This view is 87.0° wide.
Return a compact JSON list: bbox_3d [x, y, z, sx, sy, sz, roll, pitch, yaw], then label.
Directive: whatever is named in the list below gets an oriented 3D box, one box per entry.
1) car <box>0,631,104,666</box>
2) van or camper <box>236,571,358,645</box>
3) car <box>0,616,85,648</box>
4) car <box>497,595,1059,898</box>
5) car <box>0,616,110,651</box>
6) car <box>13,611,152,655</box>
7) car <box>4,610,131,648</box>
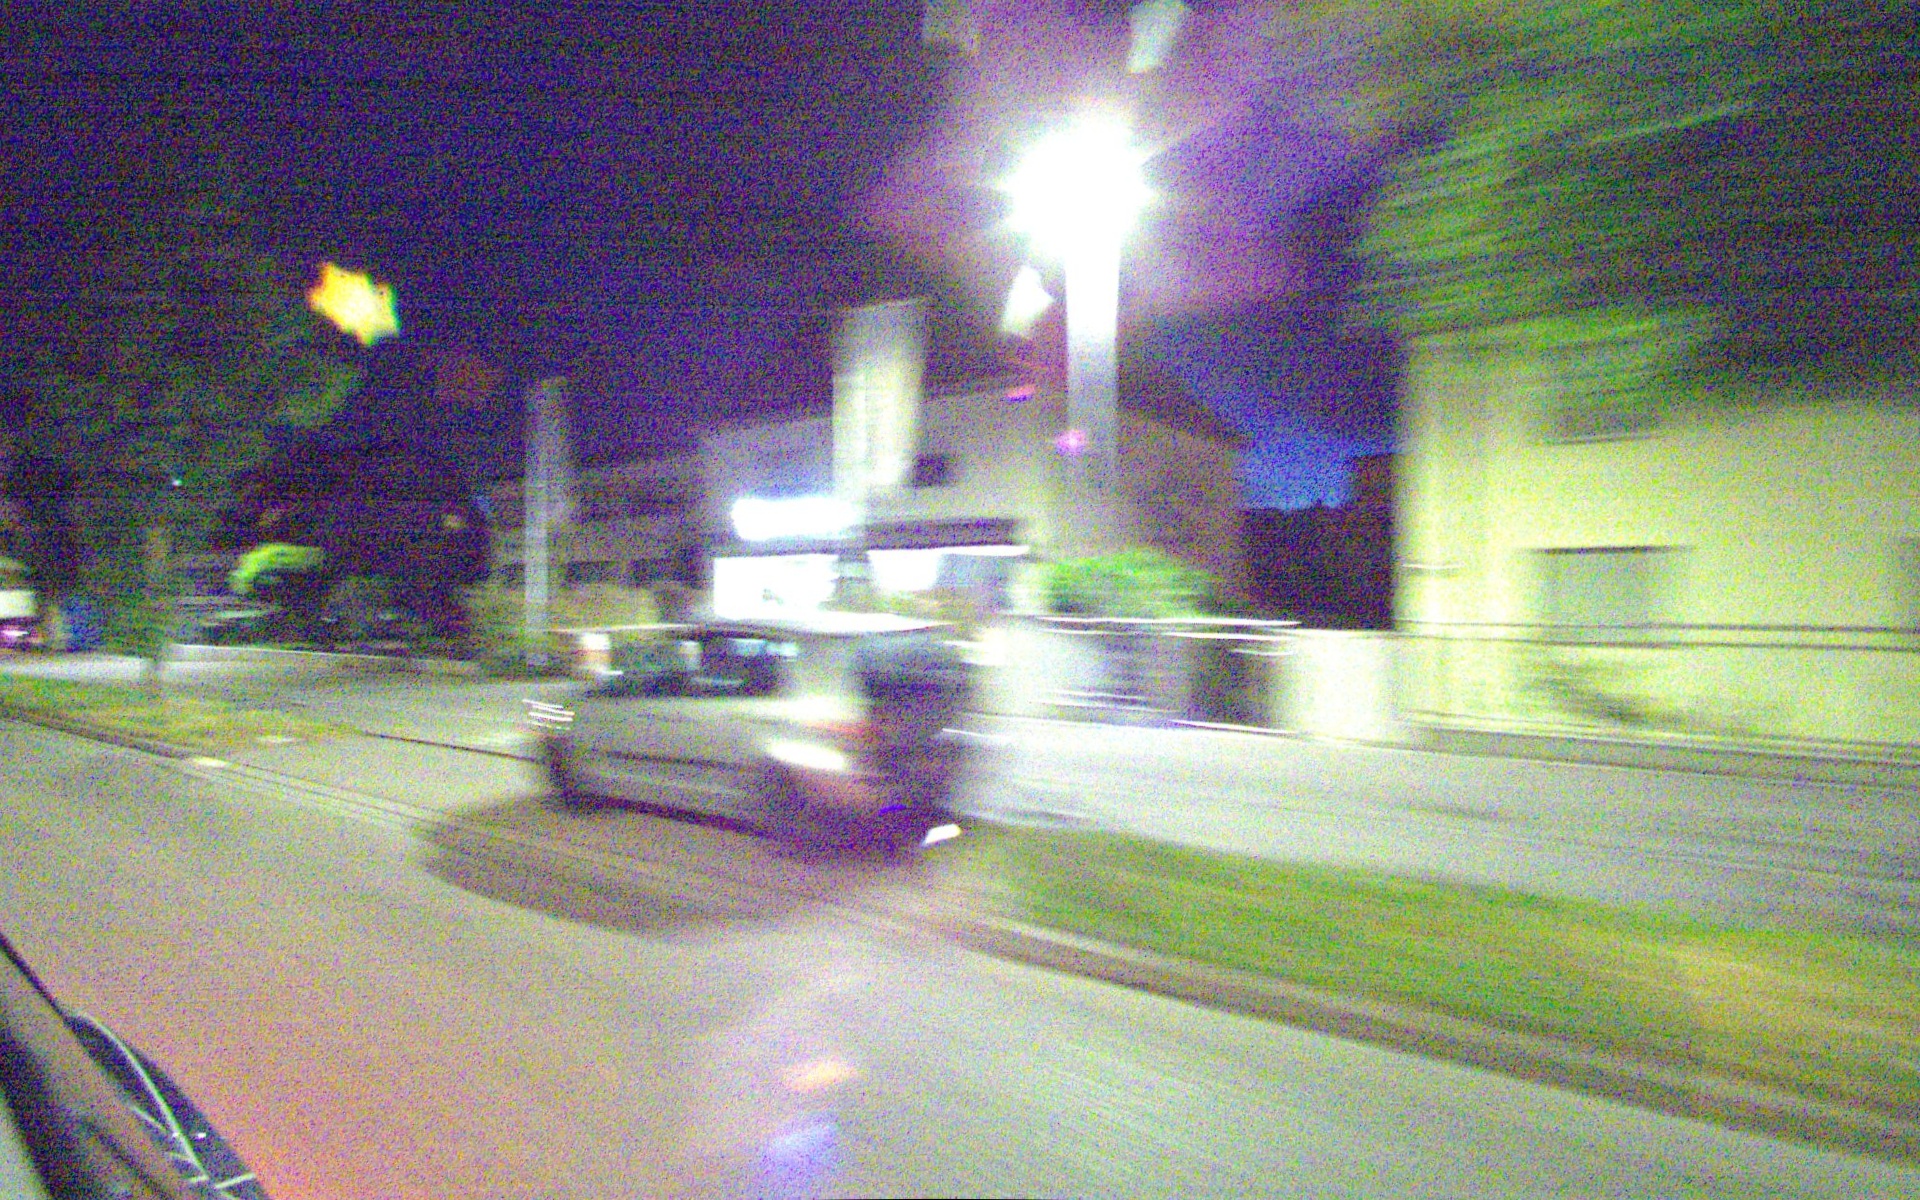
[{"bbox_3d":[-43.609,2.284,48.228,1.997,1.475,3.950,-1,0,37],"label":"car"},{"bbox_3d":[-26.665,0.353,40.612,5.916,2.768,2.057,-1,-1,35],"label":"van or camper"},{"bbox_3d":[-48.249,1.658,52.237,2.021,1.573,4.284,-1,-1,29],"label":"car"},{"bbox_3d":[-1.436,0.801,7.224,3.978,1.603,1.658,-1,0,36],"label":"car"},{"bbox_3d":[-45.760,1.664,51.184,1.998,1.630,3.948,-2,-1,39],"label":"car"},{"bbox_3d":[-36.845,1.425,42.593,1.939,1.716,3.961,-1,-4,29],"label":"car"},{"bbox_3d":[-41.429,1.369,47.036,1.997,1.674,4.077,-1,-3,37],"label":"car"}]
